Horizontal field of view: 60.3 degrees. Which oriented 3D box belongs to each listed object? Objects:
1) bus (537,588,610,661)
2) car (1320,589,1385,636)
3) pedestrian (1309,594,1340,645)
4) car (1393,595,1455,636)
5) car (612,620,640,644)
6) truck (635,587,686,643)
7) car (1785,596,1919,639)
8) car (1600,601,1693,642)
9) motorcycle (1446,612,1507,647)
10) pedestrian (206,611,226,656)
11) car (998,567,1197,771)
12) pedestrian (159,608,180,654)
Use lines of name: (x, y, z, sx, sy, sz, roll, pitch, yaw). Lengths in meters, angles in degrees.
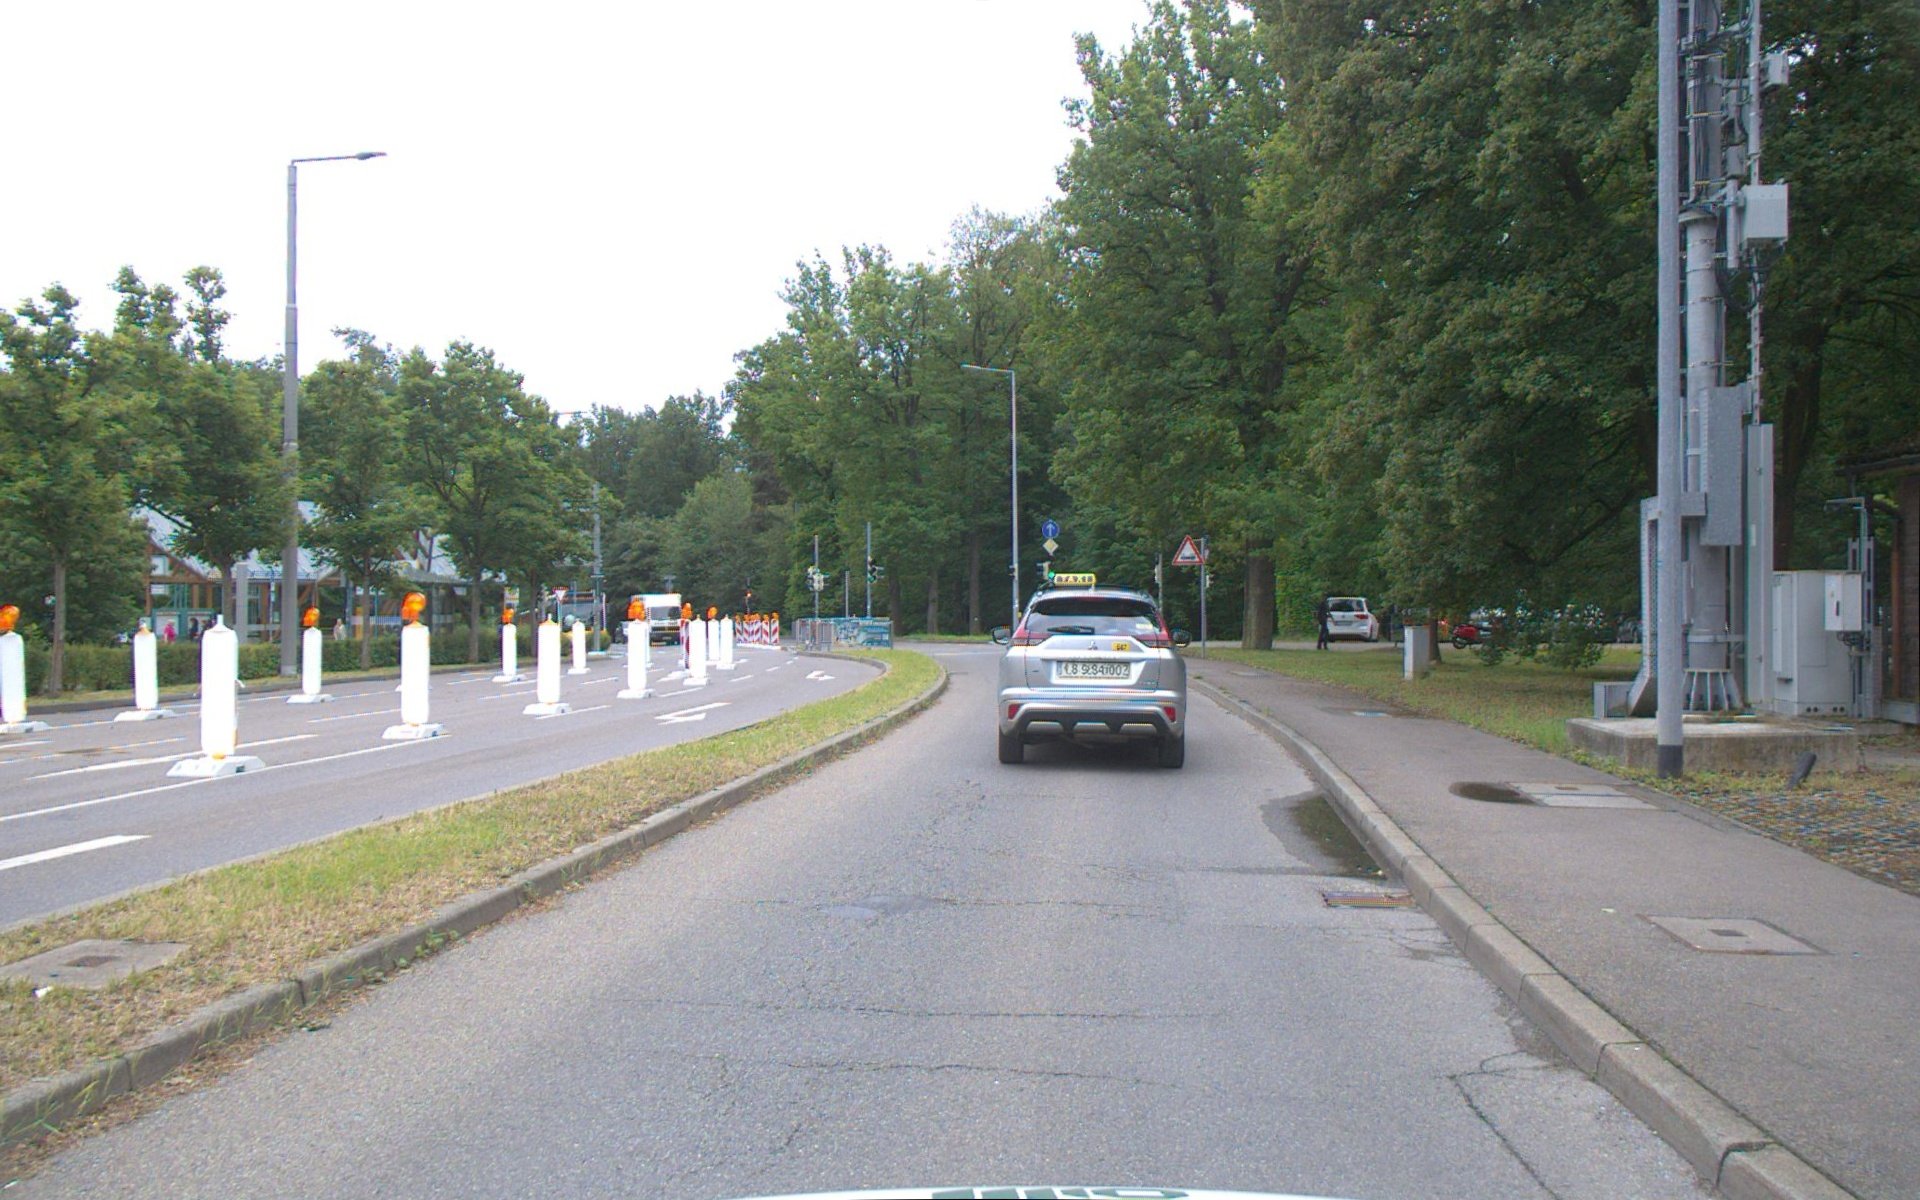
bus: (-21.079, 1.233, 89.621, 2.778, 3.666, 12.737, 0, 0, -18)
car: (13.726, 0.425, 57.679, 1.796, 1.563, 4.001, -1, 0, 19)
pedestrian: (11.085, 0.581, 50.236, 0.823, 1.532, 0.791, -1, 0, 19)
car: (16.010, 0.523, 57.008, 1.796, 1.349, 4.001, -1, 0, 19)
car: (-23.478, 2.218, 116.190, 1.531, 1.555, 3.808, 0, 0, -17)
truck: (-18.959, 0.950, 104.376, 2.443, 3.344, 8.484, -1, 0, -15)
car: (29.110, 0.552, 53.812, 3.736, 1.349, 1.561, -1, 0, -1)
car: (23.234, 0.709, 56.136, 1.524, 1.349, 3.825, 0, 0, -1)
motorcycle: (16.084, 0.912, 51.552, 1.788, 1.075, 0.615, 0, 0, 14)
pedestrian: (-27.618, 1.241, 61.361, 0.551, 1.654, 0.490, 0, 0, 39)
car: (1.431, 0.642, 16.472, 1.736, 1.779, 3.783, 0, -1, 7)
pedestrian: (-28.559, 1.102, 59.755, 0.551, 1.654, 0.490, 0, 0, 39)
